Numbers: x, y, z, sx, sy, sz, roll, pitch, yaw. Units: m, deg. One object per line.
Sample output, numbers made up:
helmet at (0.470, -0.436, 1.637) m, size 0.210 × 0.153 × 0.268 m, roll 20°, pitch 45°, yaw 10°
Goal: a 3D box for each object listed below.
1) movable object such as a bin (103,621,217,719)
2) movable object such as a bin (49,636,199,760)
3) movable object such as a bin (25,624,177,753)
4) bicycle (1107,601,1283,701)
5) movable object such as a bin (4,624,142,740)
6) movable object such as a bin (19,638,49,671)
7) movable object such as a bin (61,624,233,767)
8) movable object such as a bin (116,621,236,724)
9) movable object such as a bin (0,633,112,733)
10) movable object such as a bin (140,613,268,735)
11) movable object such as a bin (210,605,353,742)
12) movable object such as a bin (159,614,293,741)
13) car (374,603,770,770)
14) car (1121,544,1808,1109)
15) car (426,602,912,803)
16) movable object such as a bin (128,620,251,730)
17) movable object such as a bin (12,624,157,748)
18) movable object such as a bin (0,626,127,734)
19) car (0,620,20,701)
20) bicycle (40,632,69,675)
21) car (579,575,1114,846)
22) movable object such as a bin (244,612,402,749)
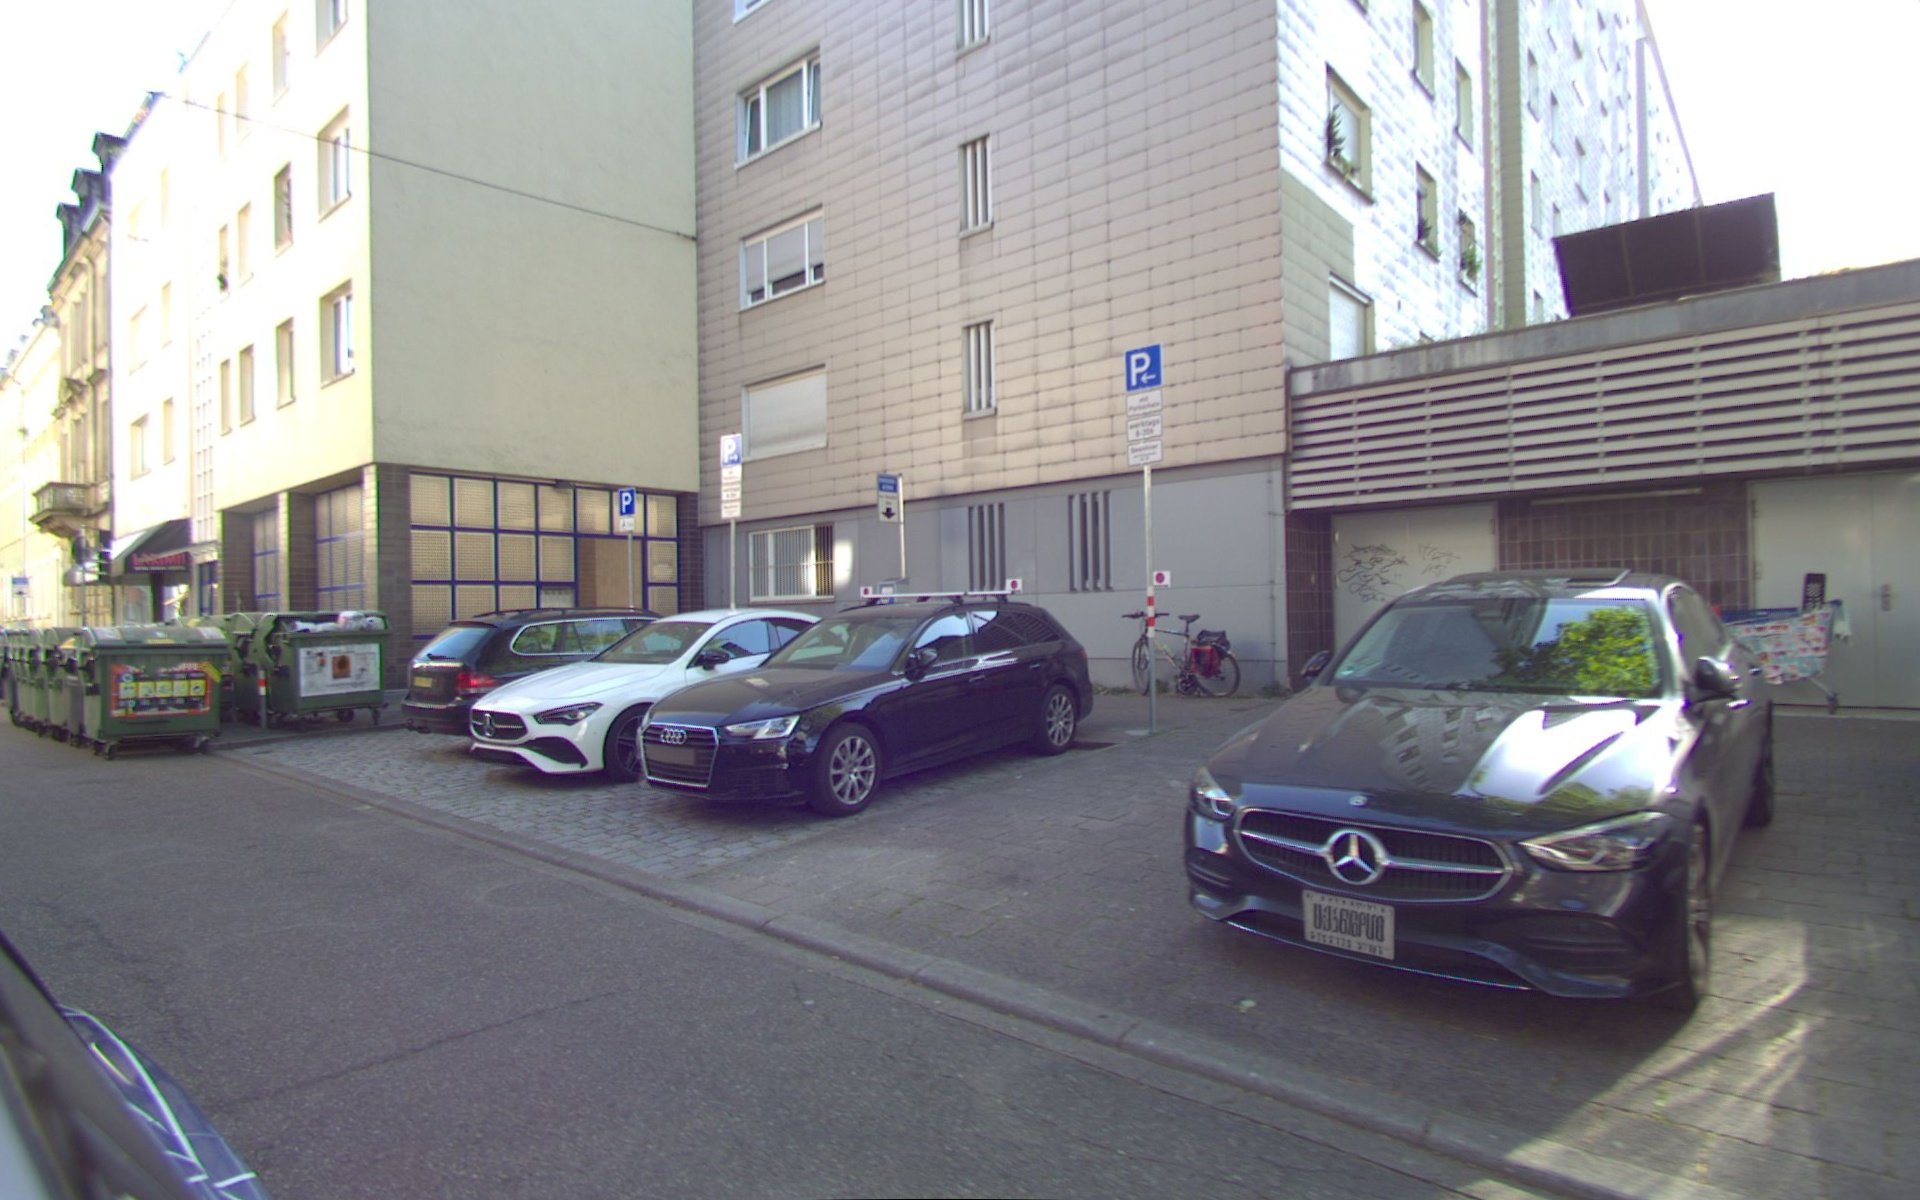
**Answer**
movable object such as a bin at (-13.235, 1.117, 16.749) m, size 1.178 × 1.509 × 1.283 m, roll -1°, pitch 0°, yaw 41°
movable object such as a bin at (-10.042, 1.128, 12.168) m, size 1.045 × 1.332 × 1.228 m, roll -1°, pitch 0°, yaw 41°
movable object such as a bin at (-10.894, 1.067, 12.853) m, size 1.081 × 1.502 × 1.320 m, roll -1°, pitch 0°, yaw 41°
bicycle at (2.854, 0.616, 12.451) m, size 2.037 × 1.132 × 0.603 m, roll -2°, pitch -1°, yaw 41°
movable object such as a bin at (-12.474, 1.111, 14.240) m, size 1.002 × 1.498 × 1.334 m, roll -1°, pitch 0°, yaw 41°
movable object such as a bin at (-32.860, 1.919, 35.911) m, size 0.584 × 1.140 × 0.712 m, roll -1°, pitch -1°, yaw 37°
movable object such as a bin at (-9.198, 1.020, 11.468) m, size 1.116 × 1.462 × 1.288 m, roll -1°, pitch 0°, yaw 37°
movable object such as a bin at (-12.370, 1.098, 15.979) m, size 1.156 × 1.510 × 1.292 m, roll -1°, pitch 0°, yaw 41°
movable object such as a bin at (-14.142, 1.244, 15.697) m, size 1.186 × 1.461 × 1.306 m, roll -1°, pitch -2°, yaw 41°
movable object such as a bin at (-10.858, 1.018, 14.551) m, size 1.017 × 1.632 × 1.281 m, roll -1°, pitch 0°, yaw 41°
movable object such as a bin at (-8.886, 0.916, 13.272) m, size 1.171 × 1.665 × 1.217 m, roll -1°, pitch 0°, yaw 35°
movable object such as a bin at (-10.047, 1.010, 13.862) m, size 1.081 × 1.616 × 1.275 m, roll -1°, pitch 0°, yaw 41°
car at (-4.274, 0.832, 11.601) m, size 1.825 × 1.516 × 3.836 m, roll -1°, pitch 0°, yaw 40°
car at (2.870, 0.549, 5.058) m, size 1.928 × 1.481 × 4.453 m, roll -2°, pitch 2°, yaw 42°
car at (-2.652, 0.806, 10.092) m, size 1.956 × 1.436 × 4.298 m, roll -1°, pitch 1°, yaw 40°
movable object such as a bin at (-11.593, 1.084, 15.231) m, size 1.017 × 1.534 × 1.289 m, roll -1°, pitch 0°, yaw 41°
movable object such as a bin at (-11.708, 1.099, 13.543) m, size 1.017 × 1.510 × 1.329 m, roll -1°, pitch 0°, yaw 41°
movable object such as a bin at (-13.262, 1.136, 14.923) m, size 1.093 × 1.495 × 1.320 m, roll -1°, pitch -2°, yaw 41°
car at (-22.102, 1.306, 22.138) m, size 4.668 × 1.679 × 1.764 m, roll -2°, pitch -3°, yaw 41°
bicycle at (-28.477, 1.654, 31.824) m, size 1.867 × 1.286 × 0.505 m, roll -1°, pitch -1°, yaw 43°
car at (-0.655, 0.649, 8.542) m, size 1.914 × 1.622 × 4.423 m, roll -1°, pitch 1°, yaw 38°
movable object such as a bin at (-7.924, 0.950, 12.612) m, size 1.118 × 1.561 × 1.341 m, roll -1°, pitch 0°, yaw 35°
